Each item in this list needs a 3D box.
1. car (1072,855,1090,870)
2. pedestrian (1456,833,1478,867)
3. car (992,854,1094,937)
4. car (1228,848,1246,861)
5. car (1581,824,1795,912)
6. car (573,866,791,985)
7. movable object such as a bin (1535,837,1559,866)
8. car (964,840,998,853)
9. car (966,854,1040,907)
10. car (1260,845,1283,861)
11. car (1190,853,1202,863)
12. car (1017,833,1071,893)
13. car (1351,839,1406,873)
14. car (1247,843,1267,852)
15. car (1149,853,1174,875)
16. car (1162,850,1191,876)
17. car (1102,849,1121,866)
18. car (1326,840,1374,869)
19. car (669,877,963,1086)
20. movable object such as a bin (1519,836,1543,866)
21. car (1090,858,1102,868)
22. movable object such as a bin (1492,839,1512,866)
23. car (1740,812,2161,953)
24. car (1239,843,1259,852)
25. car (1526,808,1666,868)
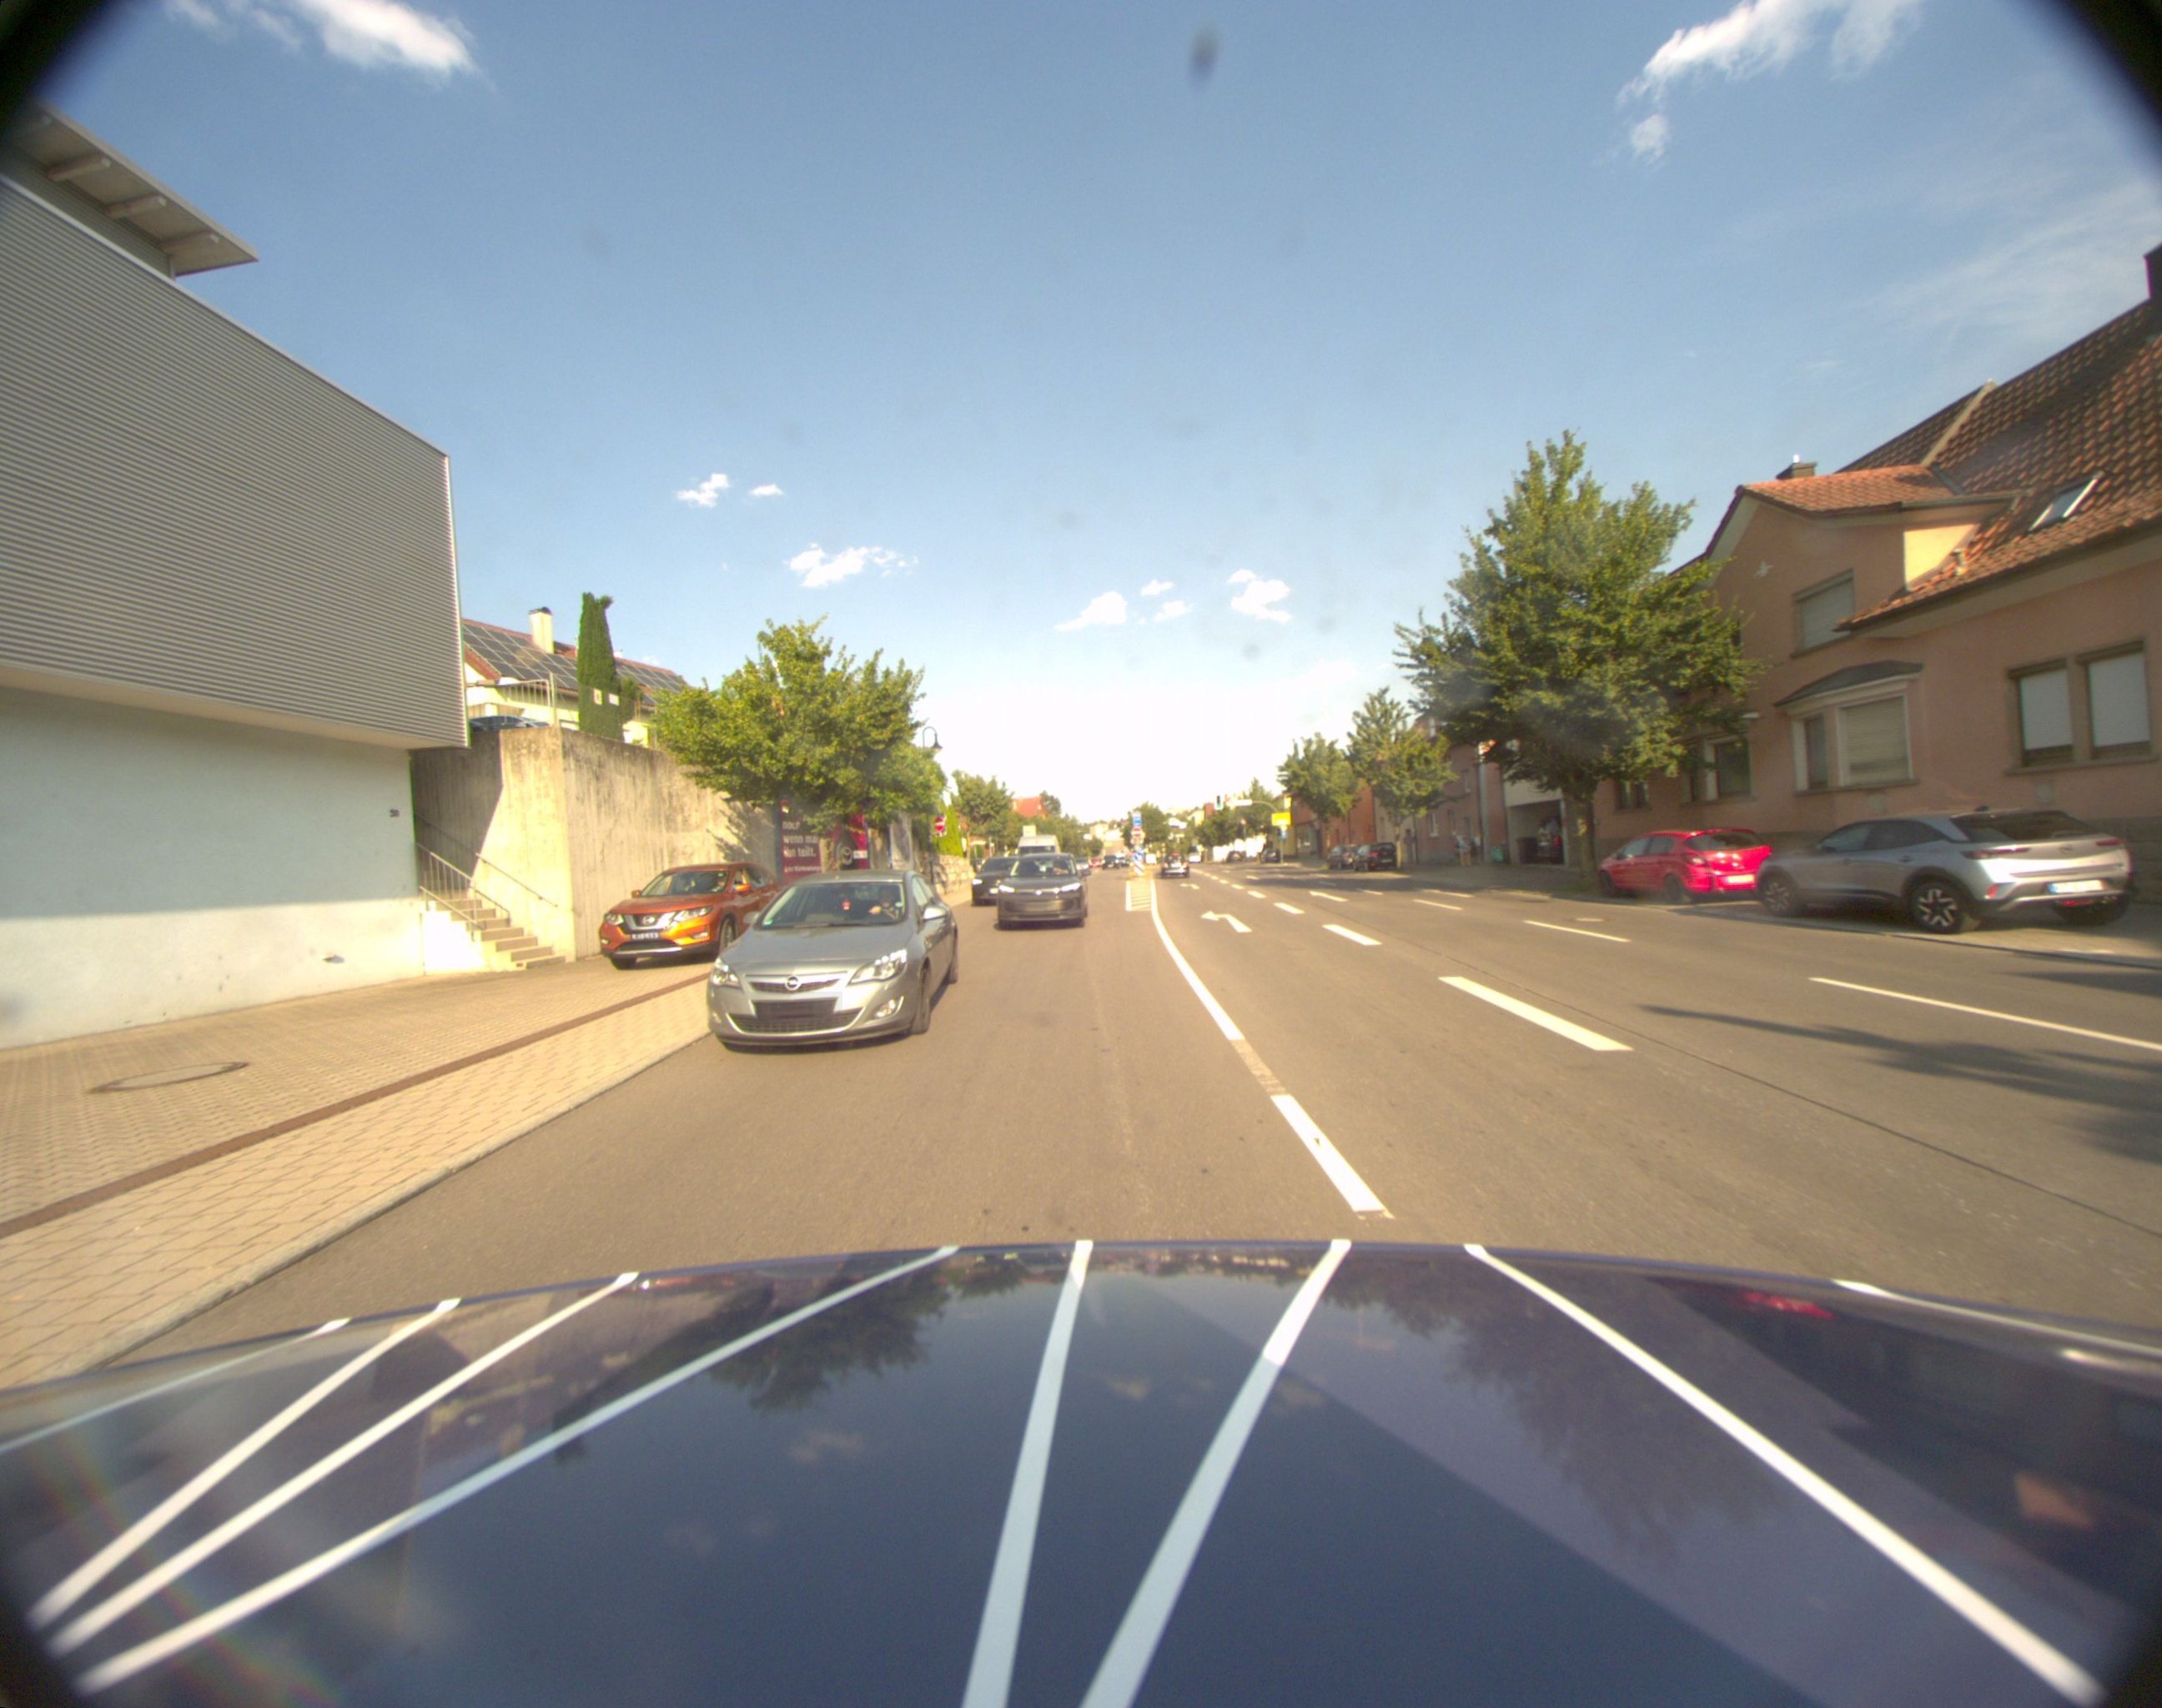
[{"bbox_3d":[0.057,0.847,75.852,1.515,1.353,2.956,-3,0,4],"label":"car"},{"bbox_3d":[18.491,-0.192,36.421,0.777,1.598,0.723,-2,0,15],"label":"pedestrian"},{"bbox_3d":[-0.733,0.862,17.317,1.767,1.582,4.058,-3,-1,4],"label":"car"},{"bbox_3d":[20.564,0.065,100.536,1.859,1.586,4.462,-3,0,6],"label":"car"},{"bbox_3d":[12.524,0.241,16.044,1.669,1.478,4.002,-6,0,9],"label":"car"},{"bbox_3d":[-6.823,1.093,13.628,1.840,1.639,4.536,-3,0,-6],"label":"car"},{"bbox_3d":[18.786,-0.113,30.635,0.567,1.136,0.576,-3,0,-1],"label":"movable object such as a bin"},{"bbox_3d":[-13.405,-0.977,101.908,4.072,1.447,1.681,-3,0,16],"label":"car"},{"bbox_3d":[-2.579,0.861,26.056,1.791,1.596,4.058,-3,-1,4],"label":"car"},{"bbox_3d":[18.771,-0.081,75.062,1.595,1.430,3.777,-7,-1,8],"label":"car"},{"bbox_3d":[19.420,0.689,128.308,1.689,1.602,4.414,-3,0,4],"label":"car"},{"bbox_3d":[-1.717,0.422,38.008,2.040,2.642,6.650,-3,0,2],"label":"car"},{"bbox_3d":[15.325,0.094,39.368,1.669,1.523,3.905,-5,0,8],"label":"car"},{"bbox_3d":[32.380,-1.267,139.784,3.437,1.534,1.617,-2,-1,-35],"label":"car"},{"bbox_3d":[5.522,0.663,52.293,1.592,1.419,3.579,-3,0,6],"label":"car"},{"bbox_3d":[5.725,0.532,45.634,1.535,1.453,3.507,-3,0,5],"label":"car"},{"bbox_3d":[3.472,0.425,86.994,1.815,1.860,4.002,-3,0,6],"label":"car"},{"bbox_3d":[15.985,0.041,45.322,1.515,1.501,3.887,-5,-1,3],"label":"car"},{"bbox_3d":[-2.277,1.005,7.692,1.652,1.414,4.143,-1,0,-3],"label":"car"},{"bbox_3d":[18.087,-0.116,30.543,0.567,1.136,0.576,-3,0,-1],"label":"movable object such as a bin"},{"bbox_3d":[2.282,1.391,115.756,1.529,1.353,2.794,-3,0,7],"label":"car"},{"bbox_3d":[18.507,-0.062,33.415,0.552,1.136,0.530,-3,0,7],"label":"movable object such as a bin"},{"bbox_3d":[11.784,0.348,10.751,1.759,1.470,4.003,-6,-1,9],"label":"car"},{"bbox_3d":[31.594,-1.264,142.759,3.437,1.555,1.583,-2,0,-35],"label":"car"},{"bbox_3d":[19.138,-0.580,28.395,3.829,1.870,1.780,-5,0,6],"label":"car"}]
